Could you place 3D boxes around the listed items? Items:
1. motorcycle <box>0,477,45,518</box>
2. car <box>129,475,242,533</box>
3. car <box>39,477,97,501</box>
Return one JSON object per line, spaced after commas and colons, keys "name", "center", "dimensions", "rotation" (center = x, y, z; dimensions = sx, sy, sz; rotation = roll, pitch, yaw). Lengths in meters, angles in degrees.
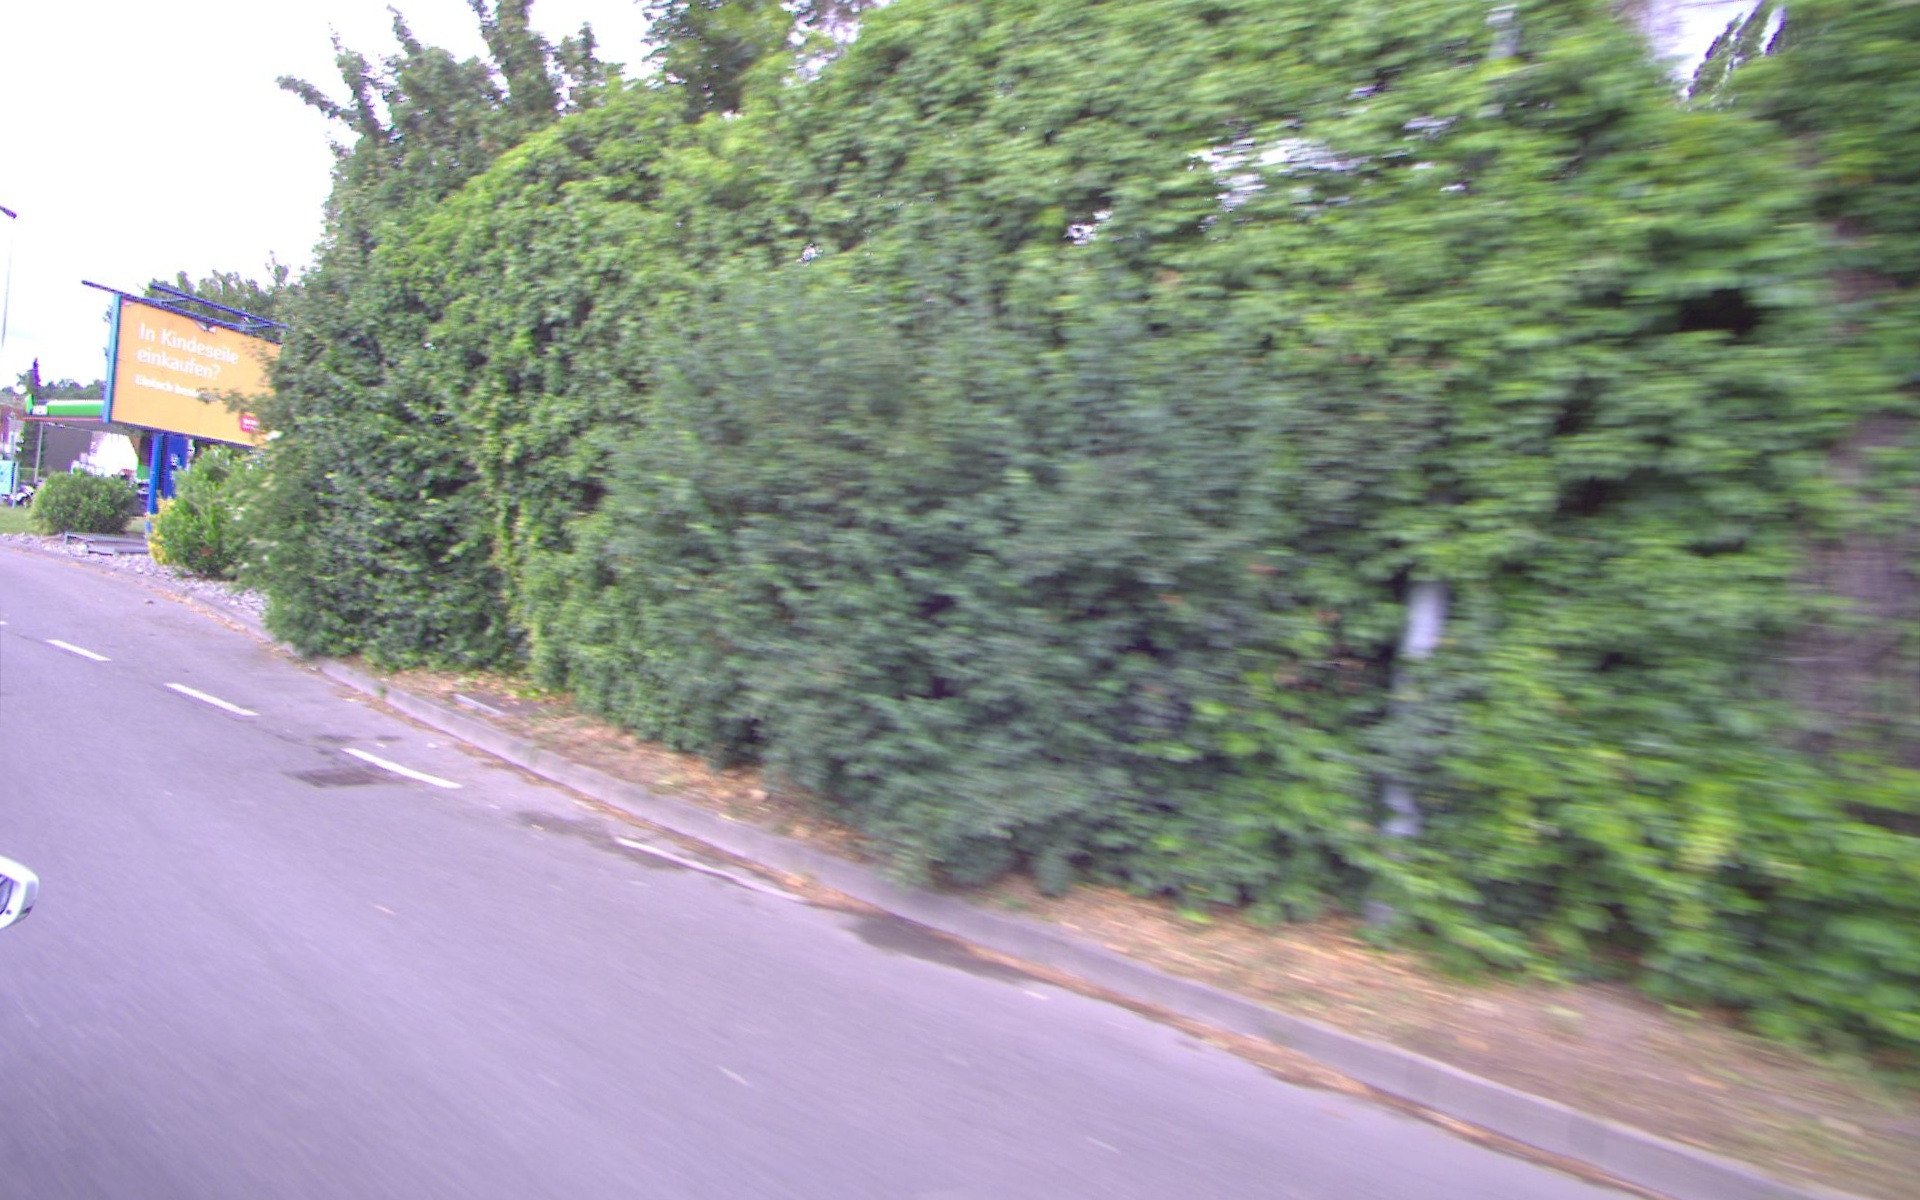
{"name": "motorcycle", "center": [-36.200, -3.942, 38.753], "dimensions": [1.957, 1.348, 0.856], "rotation": [8, 2, 32]}
{"name": "car", "center": [-28.303, -3.522, 36.725], "dimensions": [4.265, 1.697, 1.821], "rotation": [7, 2, 31]}
{"name": "car", "center": [-95.349, -11.818, 107.581], "dimensions": [1.747, 1.704, 4.226], "rotation": [7, -1, 29]}
